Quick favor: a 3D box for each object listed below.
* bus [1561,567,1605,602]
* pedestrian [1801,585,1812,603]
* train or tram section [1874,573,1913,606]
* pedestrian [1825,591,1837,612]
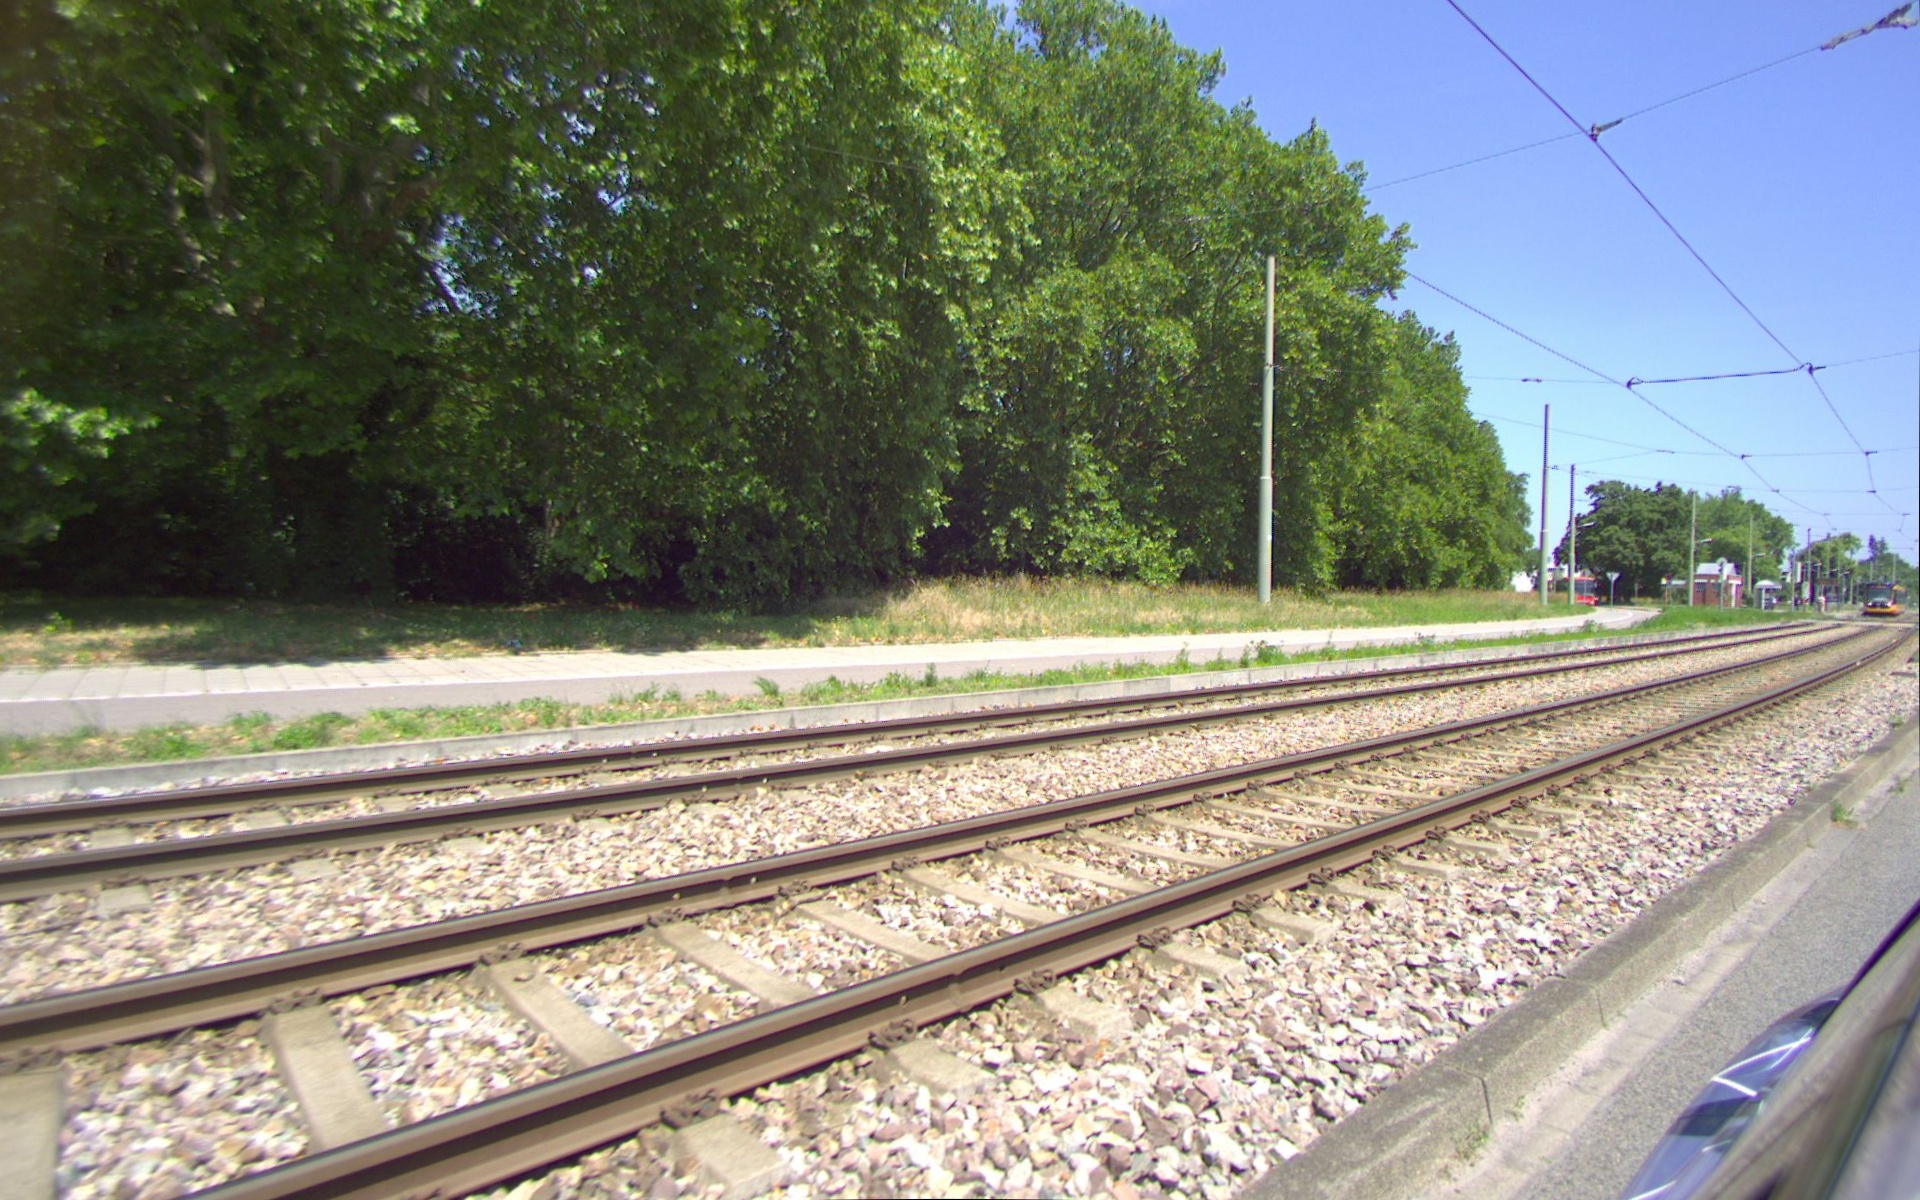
[{"bbox_3d":[66.358,-1.688,108.076,2.740,3.482,12.334,0,1,26],"label":"bus"},{"bbox_3d":[88.195,-0.621,105.417,0.646,1.786,0.707,0,1,-42],"label":"pedestrian"},{"bbox_3d":[96.868,-1.084,104.962,7.139,3.364,2.521,0,2,-44],"label":"train or tram section"},{"bbox_3d":[74.745,0.096,86.852,0.632,1.781,0.807,0,0,32],"label":"pedestrian"}]
